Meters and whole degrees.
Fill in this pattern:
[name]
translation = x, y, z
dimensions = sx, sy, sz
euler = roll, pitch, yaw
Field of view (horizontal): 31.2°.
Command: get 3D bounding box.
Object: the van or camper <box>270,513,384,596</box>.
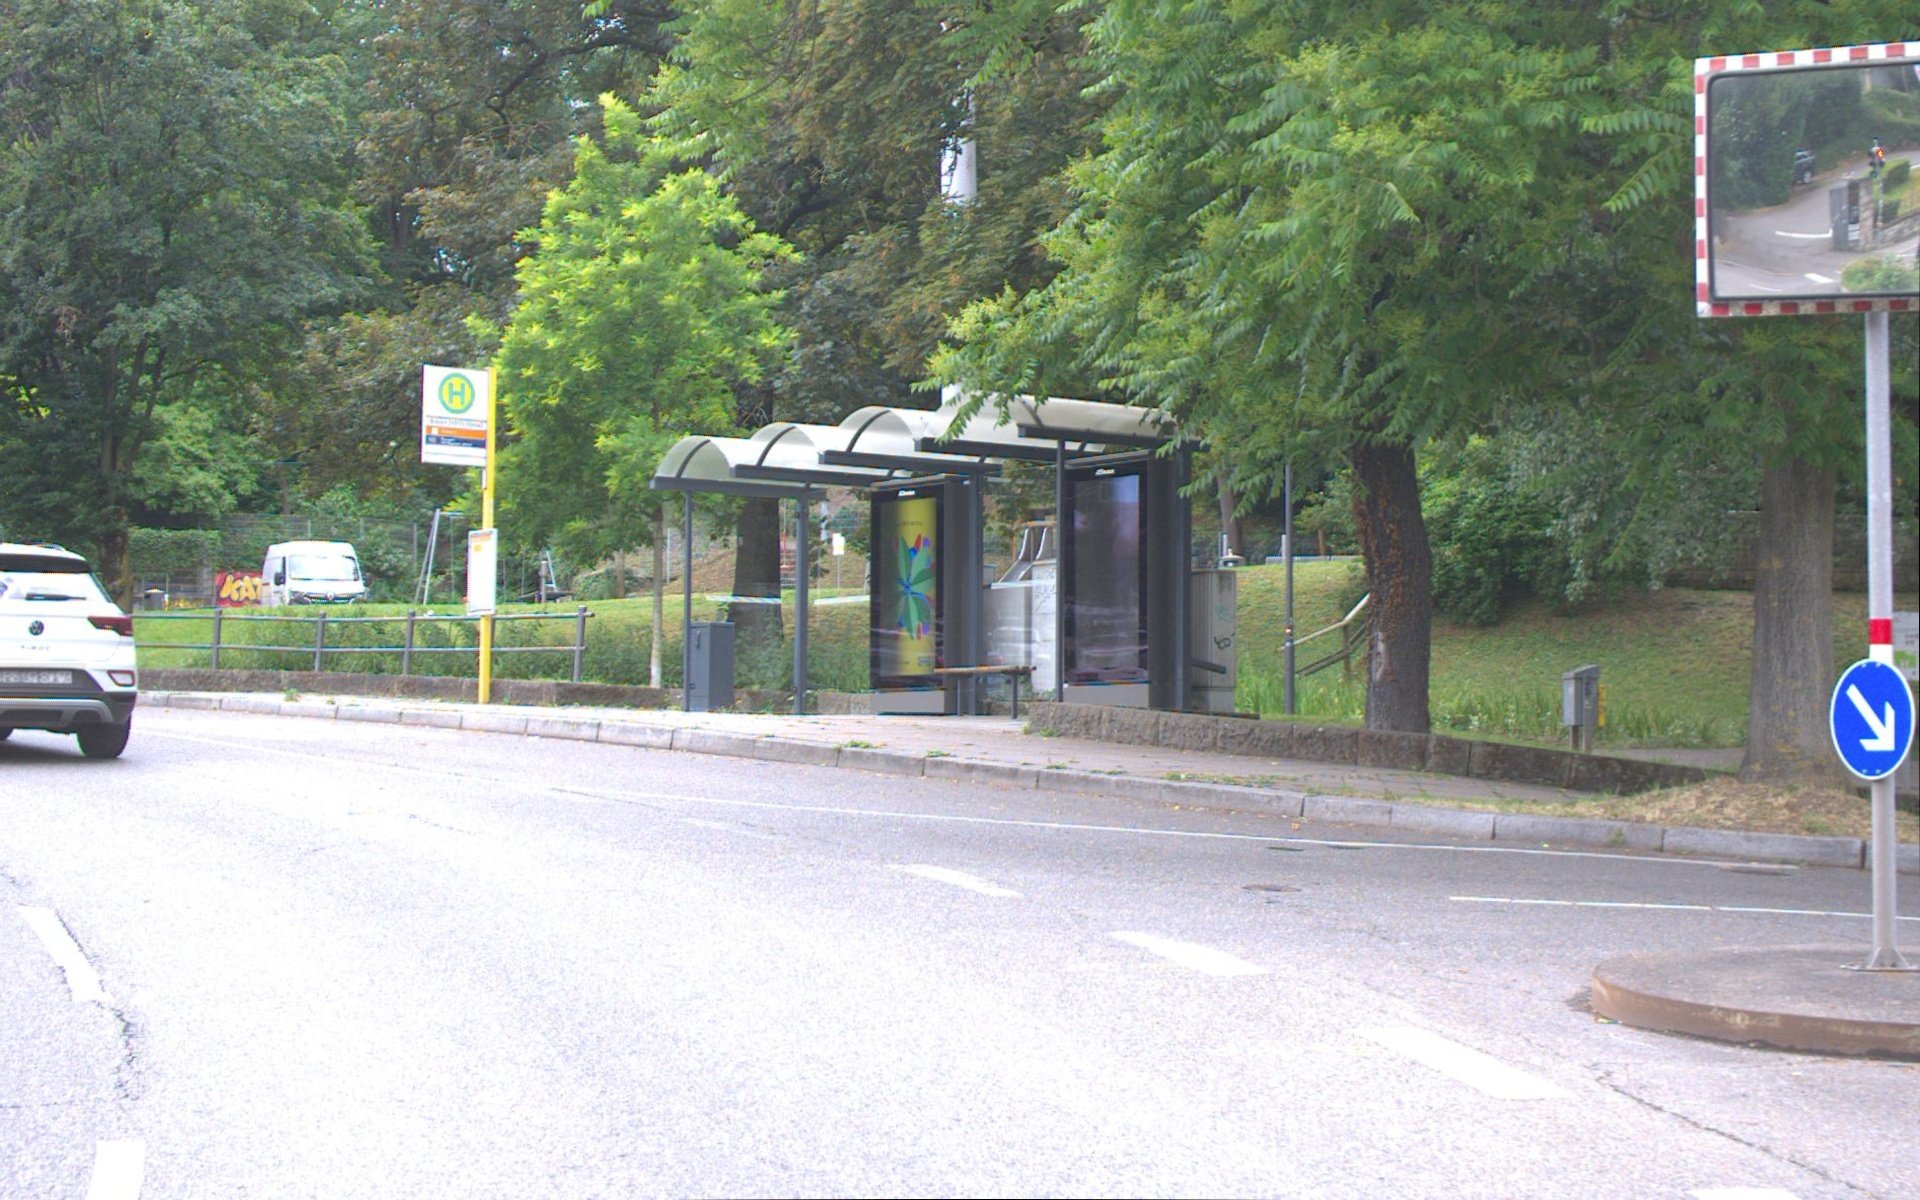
[van or camper]
translation = -16.234, -1.160, 87.945
dimensions = 2.303, 2.007, 5.443
euler = 2, 0, -16

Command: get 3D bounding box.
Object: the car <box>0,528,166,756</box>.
[car]
translation = -7.440, 0.243, 25.464
dimensions = 1.865, 1.551, 3.895
euler = 1, 1, -32
